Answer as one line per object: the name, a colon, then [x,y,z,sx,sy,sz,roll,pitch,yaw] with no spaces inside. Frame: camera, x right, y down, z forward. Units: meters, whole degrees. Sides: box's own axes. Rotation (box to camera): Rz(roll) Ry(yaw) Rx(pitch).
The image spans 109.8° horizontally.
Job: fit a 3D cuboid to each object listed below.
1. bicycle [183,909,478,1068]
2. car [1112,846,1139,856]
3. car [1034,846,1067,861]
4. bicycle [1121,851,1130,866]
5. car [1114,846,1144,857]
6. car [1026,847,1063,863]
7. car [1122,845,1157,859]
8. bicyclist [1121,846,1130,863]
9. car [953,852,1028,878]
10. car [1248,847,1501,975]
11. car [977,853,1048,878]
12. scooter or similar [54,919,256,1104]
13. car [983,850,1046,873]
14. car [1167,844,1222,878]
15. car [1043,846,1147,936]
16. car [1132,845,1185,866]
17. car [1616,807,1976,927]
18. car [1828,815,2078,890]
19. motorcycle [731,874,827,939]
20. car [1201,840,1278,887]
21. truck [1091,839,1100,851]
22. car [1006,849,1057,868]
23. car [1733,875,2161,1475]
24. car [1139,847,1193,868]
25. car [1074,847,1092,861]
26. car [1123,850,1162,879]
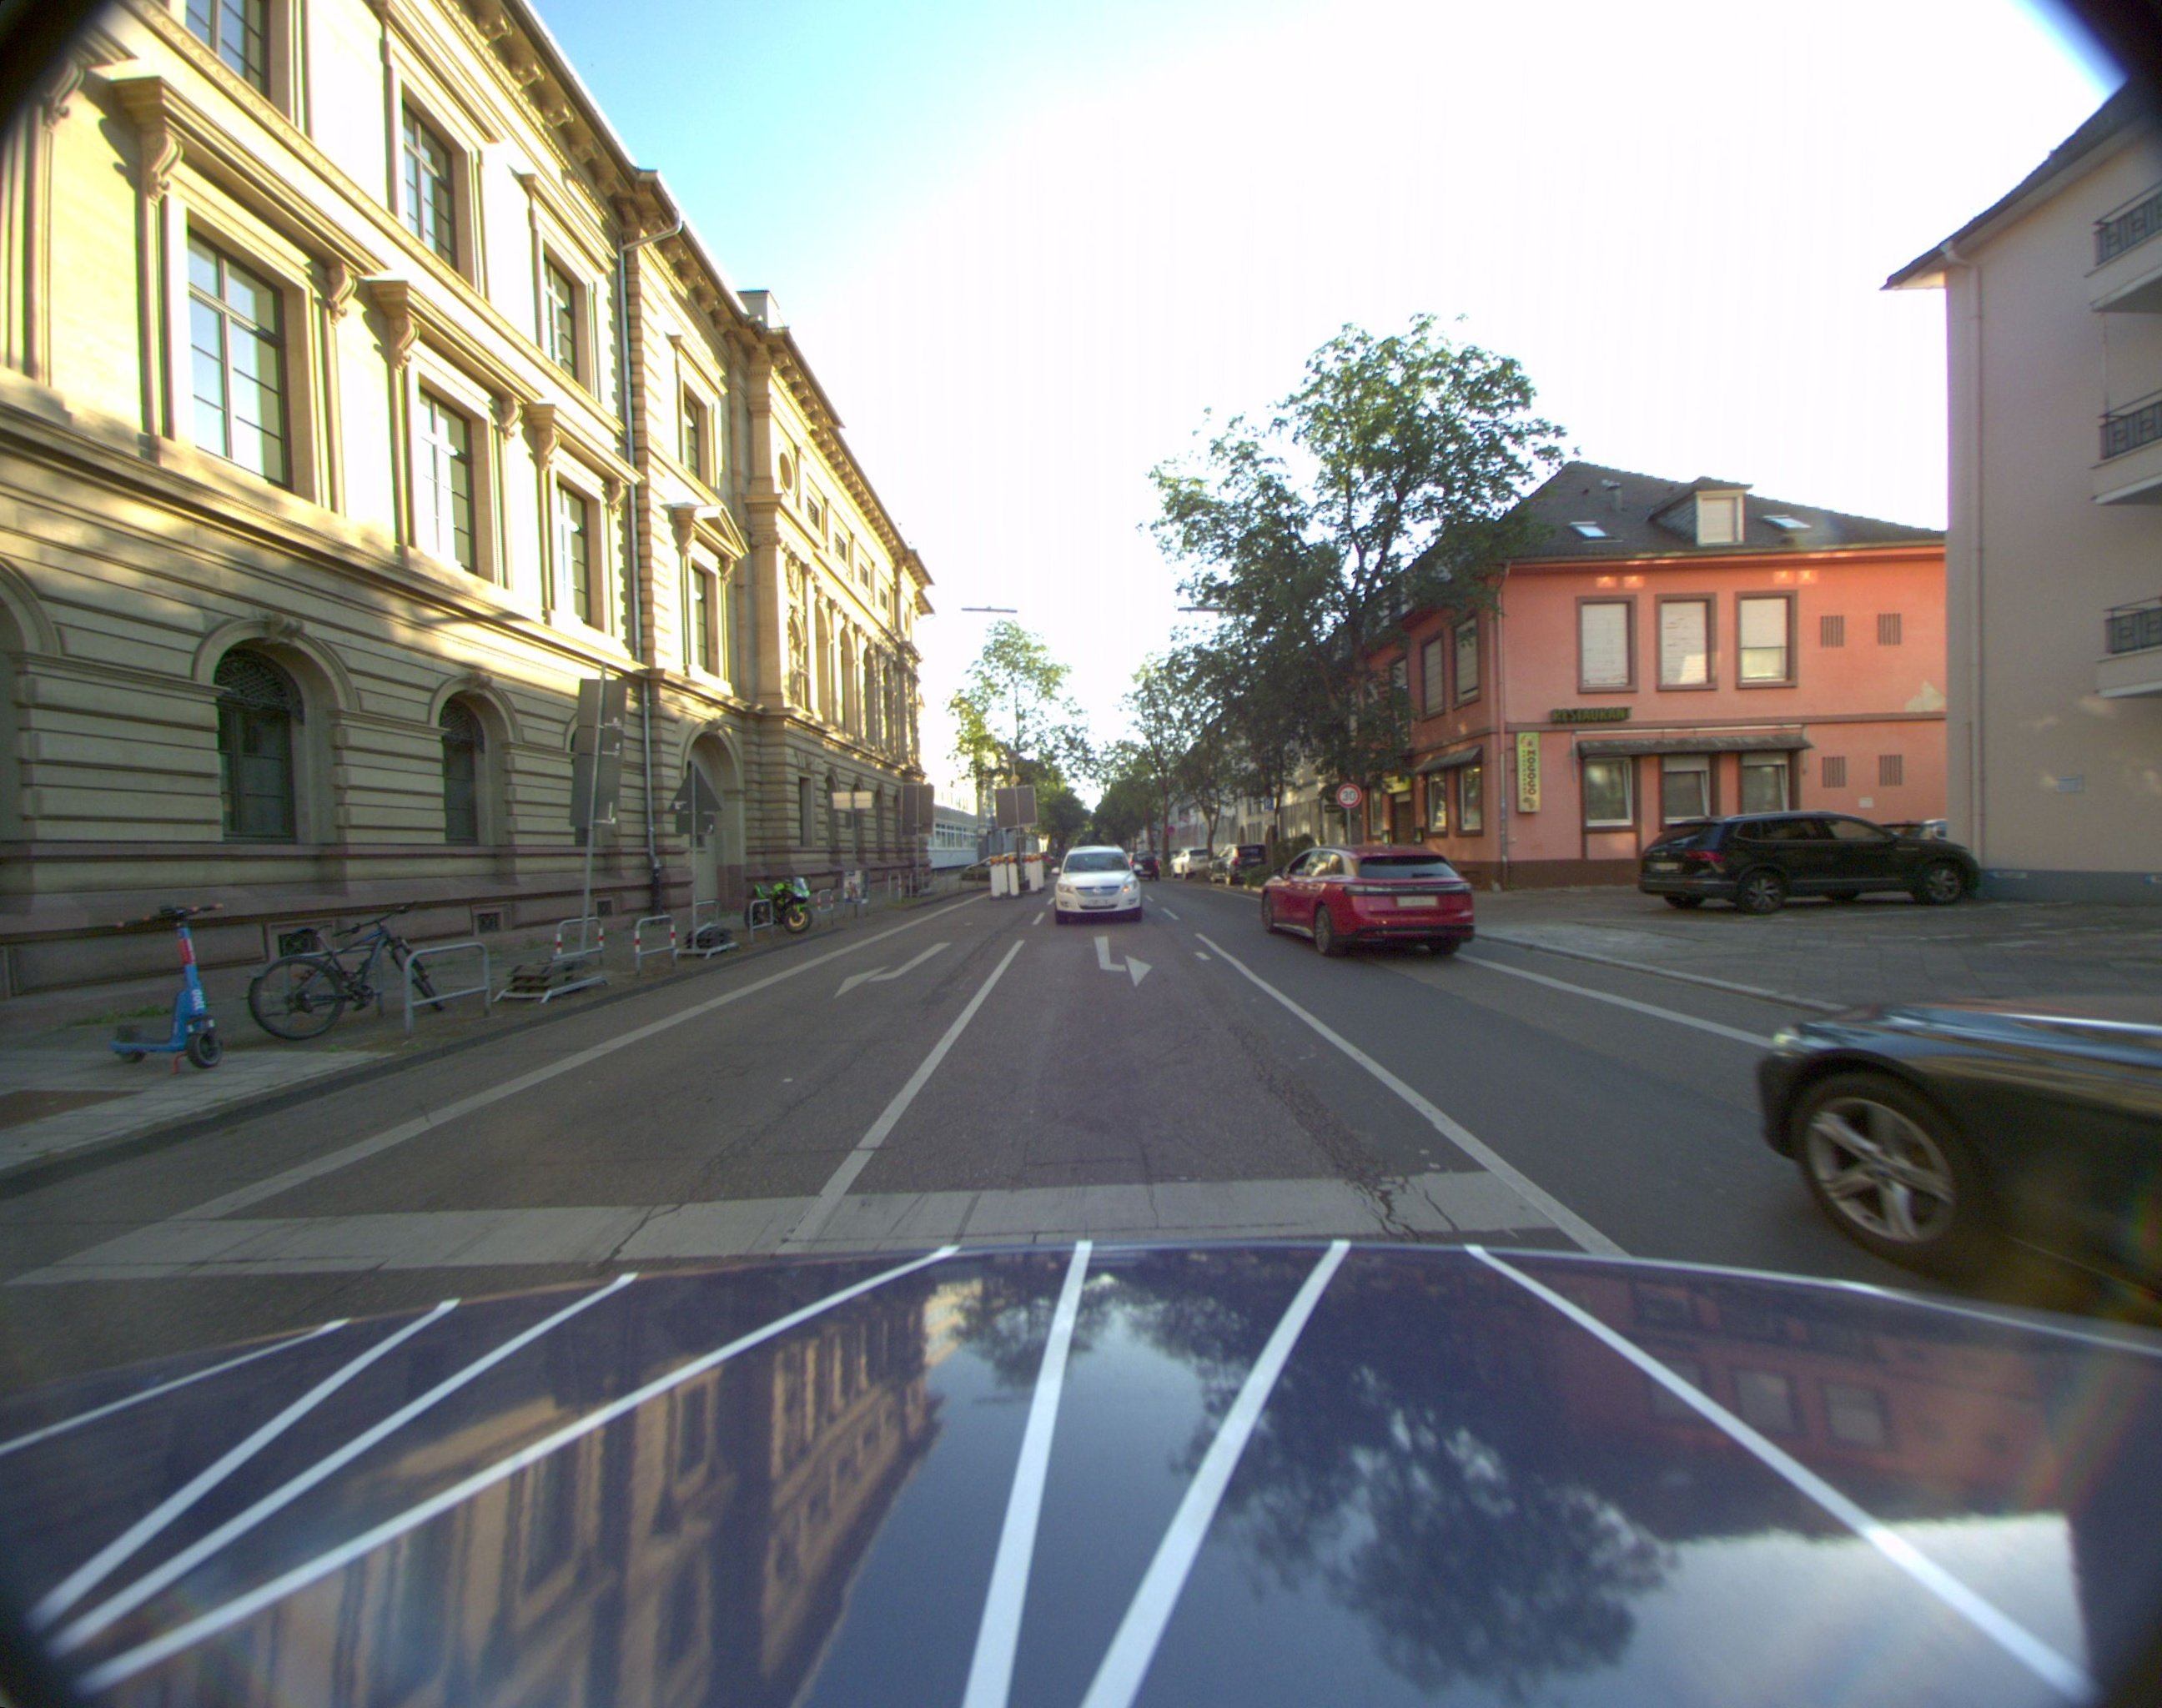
bicycle: [-6.890,1.167,7.161,0.829,1.128,1.944,1,1,1]
car: [7.215,-0.555,124.350,4.230,1.468,1.969,-2,1,-2]
car: [-4.044,-0.069,100.675,4.368,1.863,1.733,-1,1,-2]
bicycle: [3.749,0.366,63.881,0.626,1.149,2.052,-2,2,1]
car: [7.095,-0.382,111.880,4.230,1.468,1.853,-2,1,-2]
car: [-4.273,0.107,89.036,4.369,1.768,1.733,0,1,-2]
car: [7.389,-0.281,96.416,4.230,1.654,1.800,-2,1,-2]
bicyclist: [3.731,0.038,63.872,0.626,1.357,0.929,-2,2,1]
car: [-5.458,0.649,46.110,4.369,1.456,1.833,1,1,-3]
car: [4.128,0.691,11.717,1.836,1.536,4.846,-1,0,-3]
car: [-4.368,0.725,48.731,4.368,1.487,1.672,1,1,0]
scooter or similar: [-6.969,1.135,5.729,1.131,1.188,0.584,1,2,19]
car: [-4.792,0.528,55.198,4.369,1.633,2.054,1,1,-2]
car: [6.284,0.361,42.548,1.833,1.659,4.653,-6,1,-5]
car: [0.301,0.691,16.889,1.957,1.667,4.542,-2,1,1]
car: [6.508,0.106,64.021,4.230,1.680,1.800,-2,1,-2]
car: [12.136,0.202,13.117,4.429,1.655,1.863,-4,1,-1]
car: [20.475,-0.039,17.959,3.809,1.547,1.886,-2,1,-2]
motorcycle: [-6.296,1.056,15.801,2.098,1.208,0.711,1,1,30]
car: [6.988,0.373,34.081,1.833,1.749,5.045,-6,1,-5]
truck: [4.947,-2.956,254.369,2.748,3.723,7.854,-2,1,2]
car: [-4.277,0.399,66.117,4.369,1.615,1.733,0,1,-2]
car: [3.635,0.862,0.996,1.786,1.451,4.422,-1,1,0]
car: [6.804,0.245,61.286,4.228,1.536,1.801,-2,1,3]
car: [0.240,-0.008,87.362,1.951,1.546,3.999,-2,0,-1]
car: [3.300,0.567,41.361,1.662,1.463,3.853,-1,0,-1]
